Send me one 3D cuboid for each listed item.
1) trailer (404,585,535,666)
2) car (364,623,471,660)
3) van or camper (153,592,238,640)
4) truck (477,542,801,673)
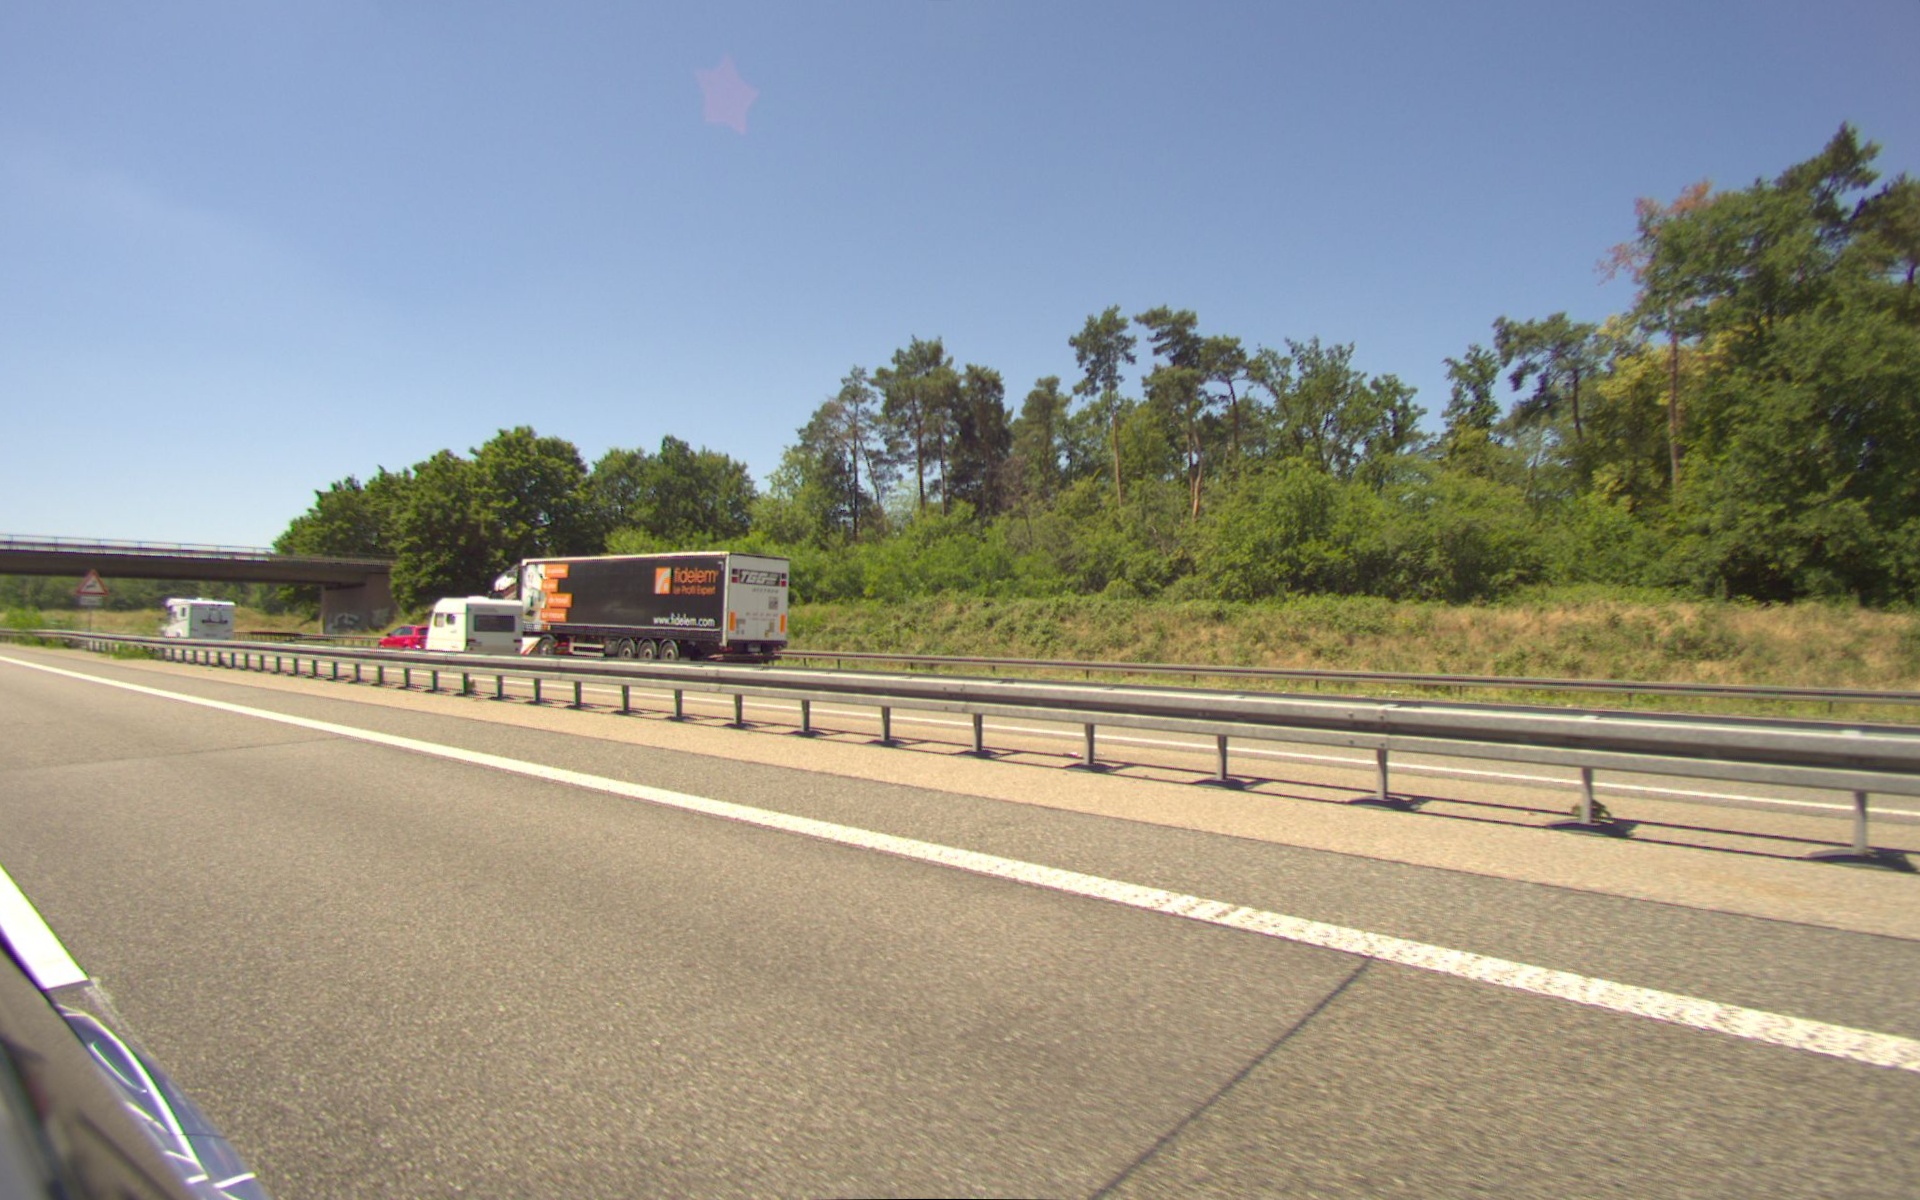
[{"bbox_3d":[-18.191,0.989,37.441,5.071,2.769,2.451,-1,-4,41],"label":"trailer"},{"bbox_3d":[-21.845,1.675,40.719,4.689,1.390,2.205,-1,-4,41],"label":"car"},{"bbox_3d":[-47.762,1.019,63.123,8.556,2.832,2.476,-1,-2,41],"label":"van or camper"},{"bbox_3d":[-12.720,0.376,37.992,16.858,4.026,3.291,-1,-2,41],"label":"truck"}]
